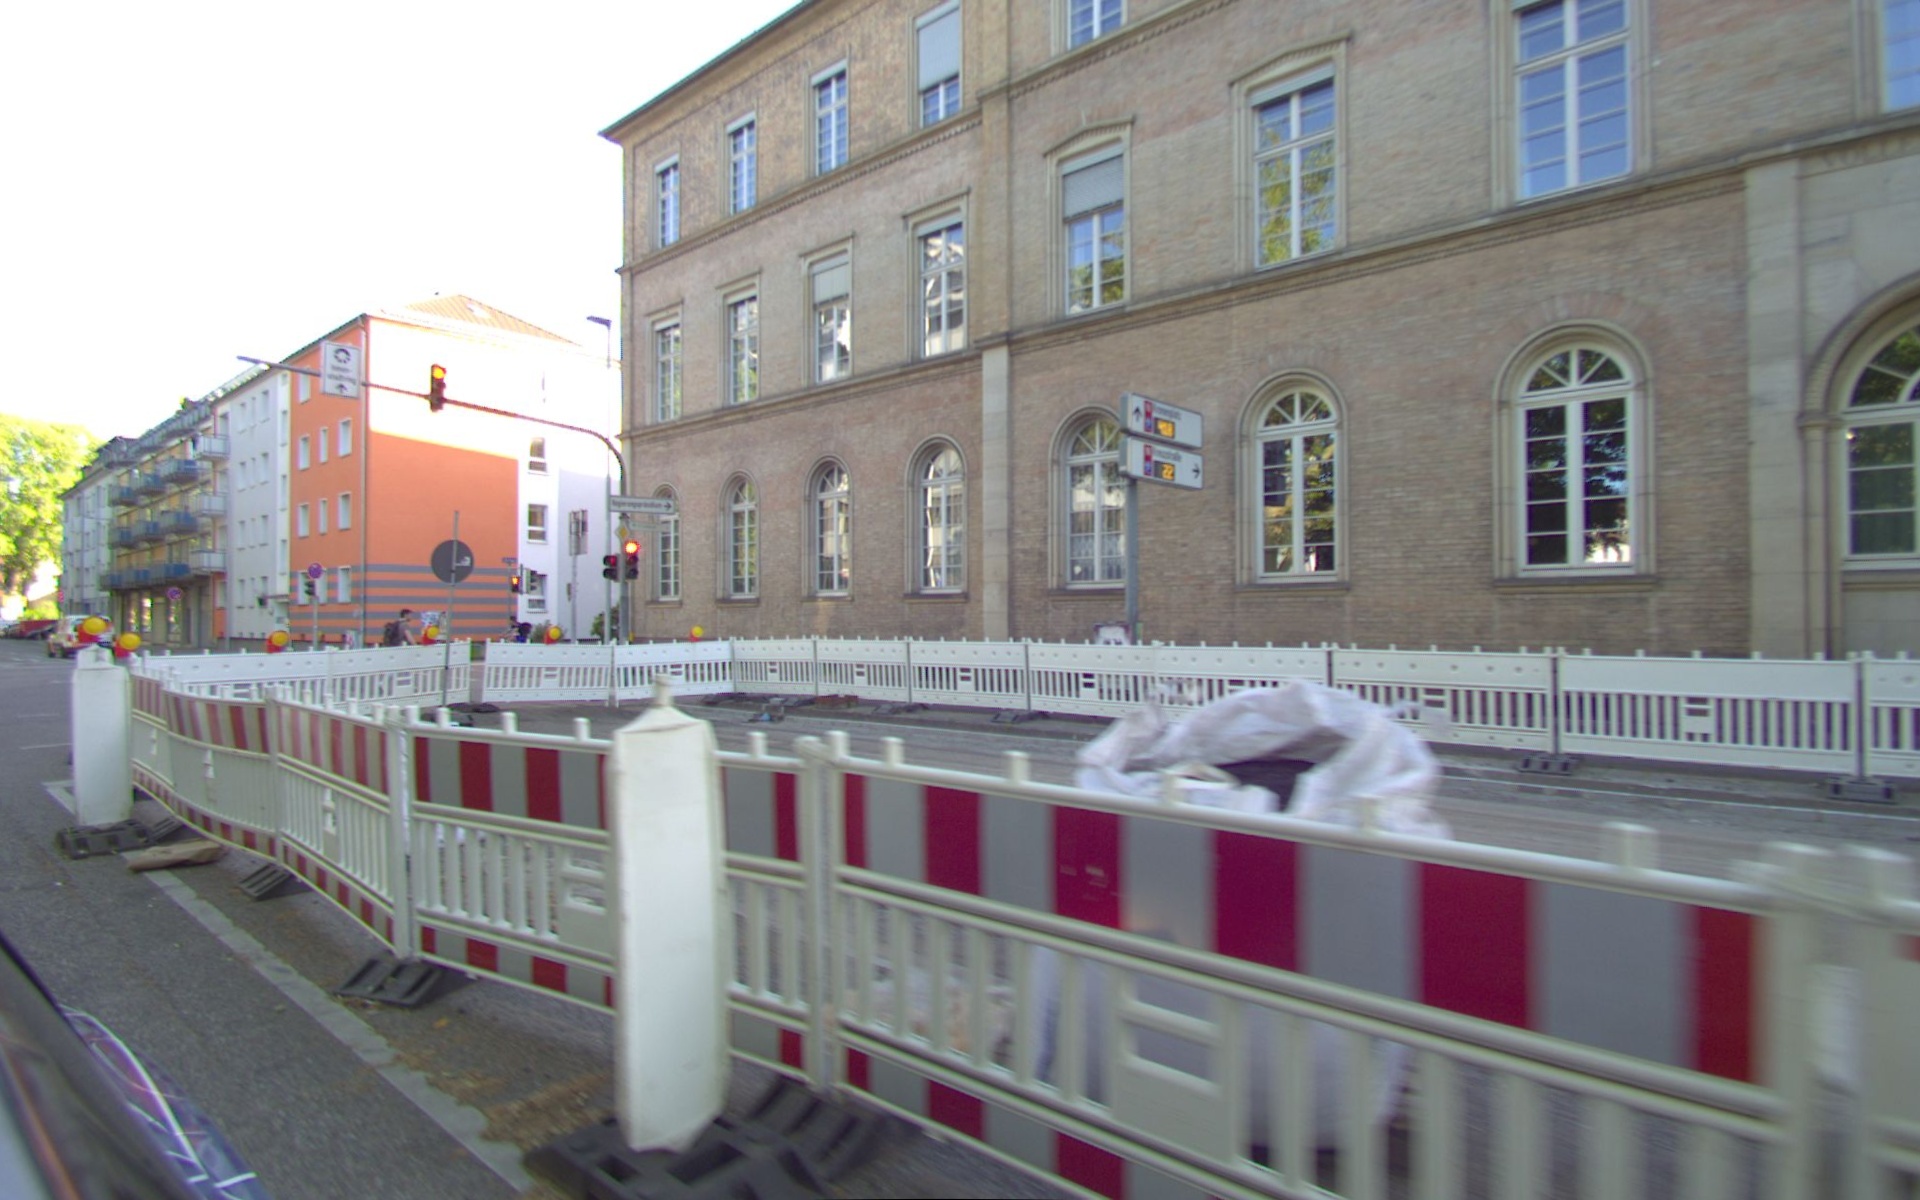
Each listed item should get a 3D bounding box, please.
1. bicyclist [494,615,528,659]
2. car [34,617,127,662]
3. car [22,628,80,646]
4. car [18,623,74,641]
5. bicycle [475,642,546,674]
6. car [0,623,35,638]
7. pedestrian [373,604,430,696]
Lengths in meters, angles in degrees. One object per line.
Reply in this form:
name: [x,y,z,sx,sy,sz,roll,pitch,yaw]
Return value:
bicyclist: [-14.486,1.197,32.615,0.824,1.383,0.793,3,-5,-35]
car: [-38.153,1.704,43.854,5.116,1.831,1.975,-1,-3,37]
car: [-86.281,3.487,96.094,1.834,1.712,3.943,-2,-2,43]
car: [-90.085,3.153,99.800,1.834,1.712,3.943,-2,-2,43]
bicycle: [-14.461,1.865,32.570,1.959,1.007,0.792,2,-5,-35]
car: [-109.129,3.536,116.434,1.834,1.712,3.943,-2,-2,43]
pedestrian: [-11.097,0.981,20.114,0.870,1.785,0.749,1,-2,-38]
